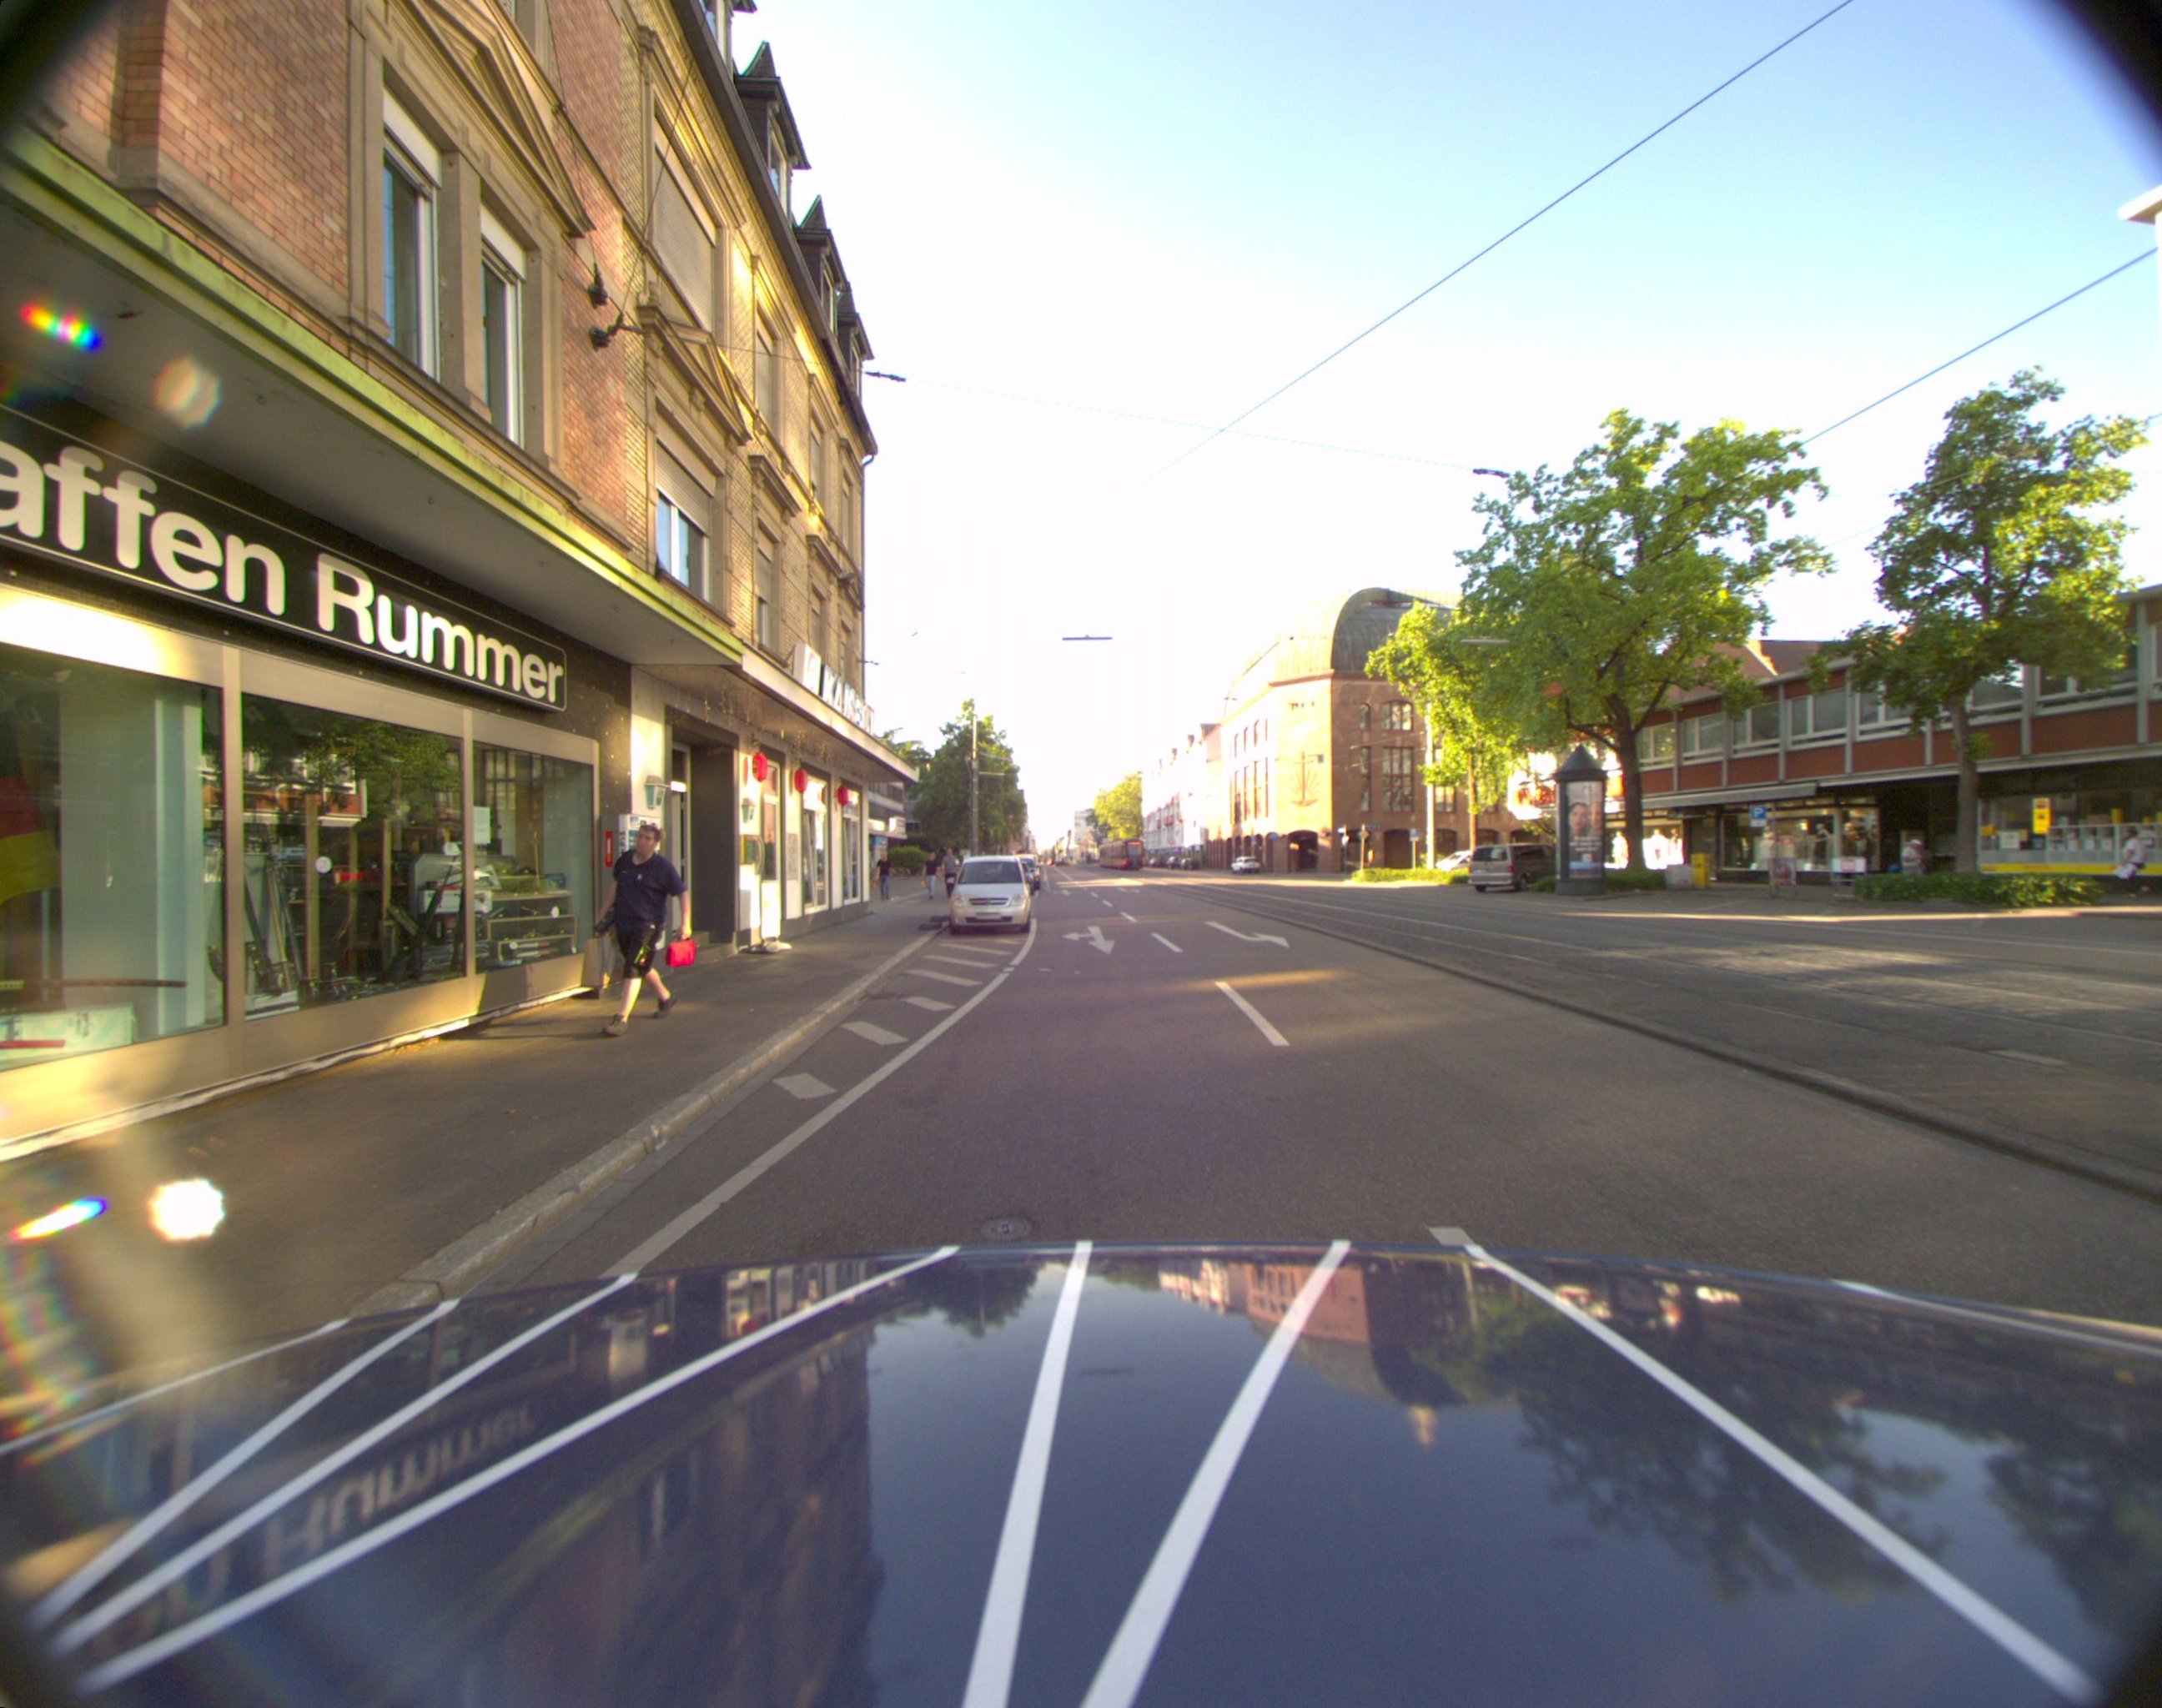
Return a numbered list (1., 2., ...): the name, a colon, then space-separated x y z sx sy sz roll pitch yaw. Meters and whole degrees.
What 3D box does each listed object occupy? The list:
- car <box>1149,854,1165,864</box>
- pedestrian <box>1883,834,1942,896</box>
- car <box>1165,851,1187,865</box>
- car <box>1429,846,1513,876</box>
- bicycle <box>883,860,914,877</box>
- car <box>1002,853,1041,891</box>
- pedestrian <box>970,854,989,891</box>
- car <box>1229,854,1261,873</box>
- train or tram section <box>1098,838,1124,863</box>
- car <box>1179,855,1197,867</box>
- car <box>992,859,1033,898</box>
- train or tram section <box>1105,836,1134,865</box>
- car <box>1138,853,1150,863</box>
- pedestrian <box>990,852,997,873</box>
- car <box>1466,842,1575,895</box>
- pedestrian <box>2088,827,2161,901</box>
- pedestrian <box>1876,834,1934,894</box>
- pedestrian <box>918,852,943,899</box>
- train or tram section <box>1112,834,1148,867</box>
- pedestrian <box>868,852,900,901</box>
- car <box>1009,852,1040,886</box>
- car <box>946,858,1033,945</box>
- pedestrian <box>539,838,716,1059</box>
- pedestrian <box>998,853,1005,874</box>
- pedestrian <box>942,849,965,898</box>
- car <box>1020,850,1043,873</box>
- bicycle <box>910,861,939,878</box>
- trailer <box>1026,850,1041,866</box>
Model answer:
1. car: 12.198 0.790 121.965 1.829 1.500 4.559 -2 0 -3
2. pedestrian: 25.511 0.341 23.331 0.917 1.867 0.901 0 1 21
3. car: 12.807 0.538 102.843 1.965 1.690 4.559 -2 0 -4
4. car: 28.153 0.491 54.888 4.993 1.957 2.130 -1 3 -5
5. bicycle: -12.295 0.996 51.222 2.020 1.089 0.637 1 0 -10
6. car: -2.972 0.867 38.944 1.825 1.747 4.473 -2 1 -3
7. pedestrian: -4.845 0.878 36.297 0.789 1.727 0.945 -1 1 -3
8. car: 14.944 0.813 69.452 1.600 1.581 4.276 -3 0 -5
9. train or tram section: 4.348 -0.536 112.355 2.766 3.530 12.463 0 0 -3
10. car: 13.496 0.857 96.159 1.646 1.392 3.682 -2 0 -2
11. car: -2.981 1.037 33.566 1.642 1.484 3.793 -3 0 -4
12. train or tram section: 4.961 -0.484 100.599 2.683 3.530 11.122 0 0 -3
13. car: 11.437 0.782 137.736 1.931 1.787 4.383 0 0 0
14. pedestrian: -7.142 0.709 62.308 0.494 1.703 0.437 2 1 -3
15. car: 18.300 0.538 31.578 5.130 1.918 1.849 -3 2 -34
16. pedestrian: 28.154 0.256 20.435 0.996 1.937 0.900 0 1 -6
17. pedestrian: 26.412 0.320 24.372 0.919 1.867 0.900 0 1 -5
18. pedestrian: -5.728 0.797 28.946 0.813 1.746 1.032 0 1 -3
19. train or tram section: 5.534 -0.406 88.611 2.683 3.530 12.836 0 0 -3
20. pedestrian: -7.081 0.799 27.351 0.903 1.703 1.032 2 0 -3
21. car: -3.219 0.817 43.839 1.680 1.797 4.247 -2 0 -3
22. car: -1.900 0.922 16.654 1.642 1.605 3.943 -1 0 -4
23. pedestrian: -3.921 0.768 6.676 0.949 1.782 1.054 1 0 -3
24. pedestrian: -6.539 0.744 62.280 0.494 1.703 0.437 2 1 -3
25. pedestrian: -4.937 0.741 29.468 0.796 1.888 1.032 0 1 -3
26. car: -4.453 0.659 68.493 1.882 2.009 4.904 -2 0 -3
27. bicycle: -10.762 1.056 52.180 1.886 1.090 0.469 0 1 -5
28. trailer: -6.381 0.515 102.446 1.784 2.136 5.314 -2 0 -1
